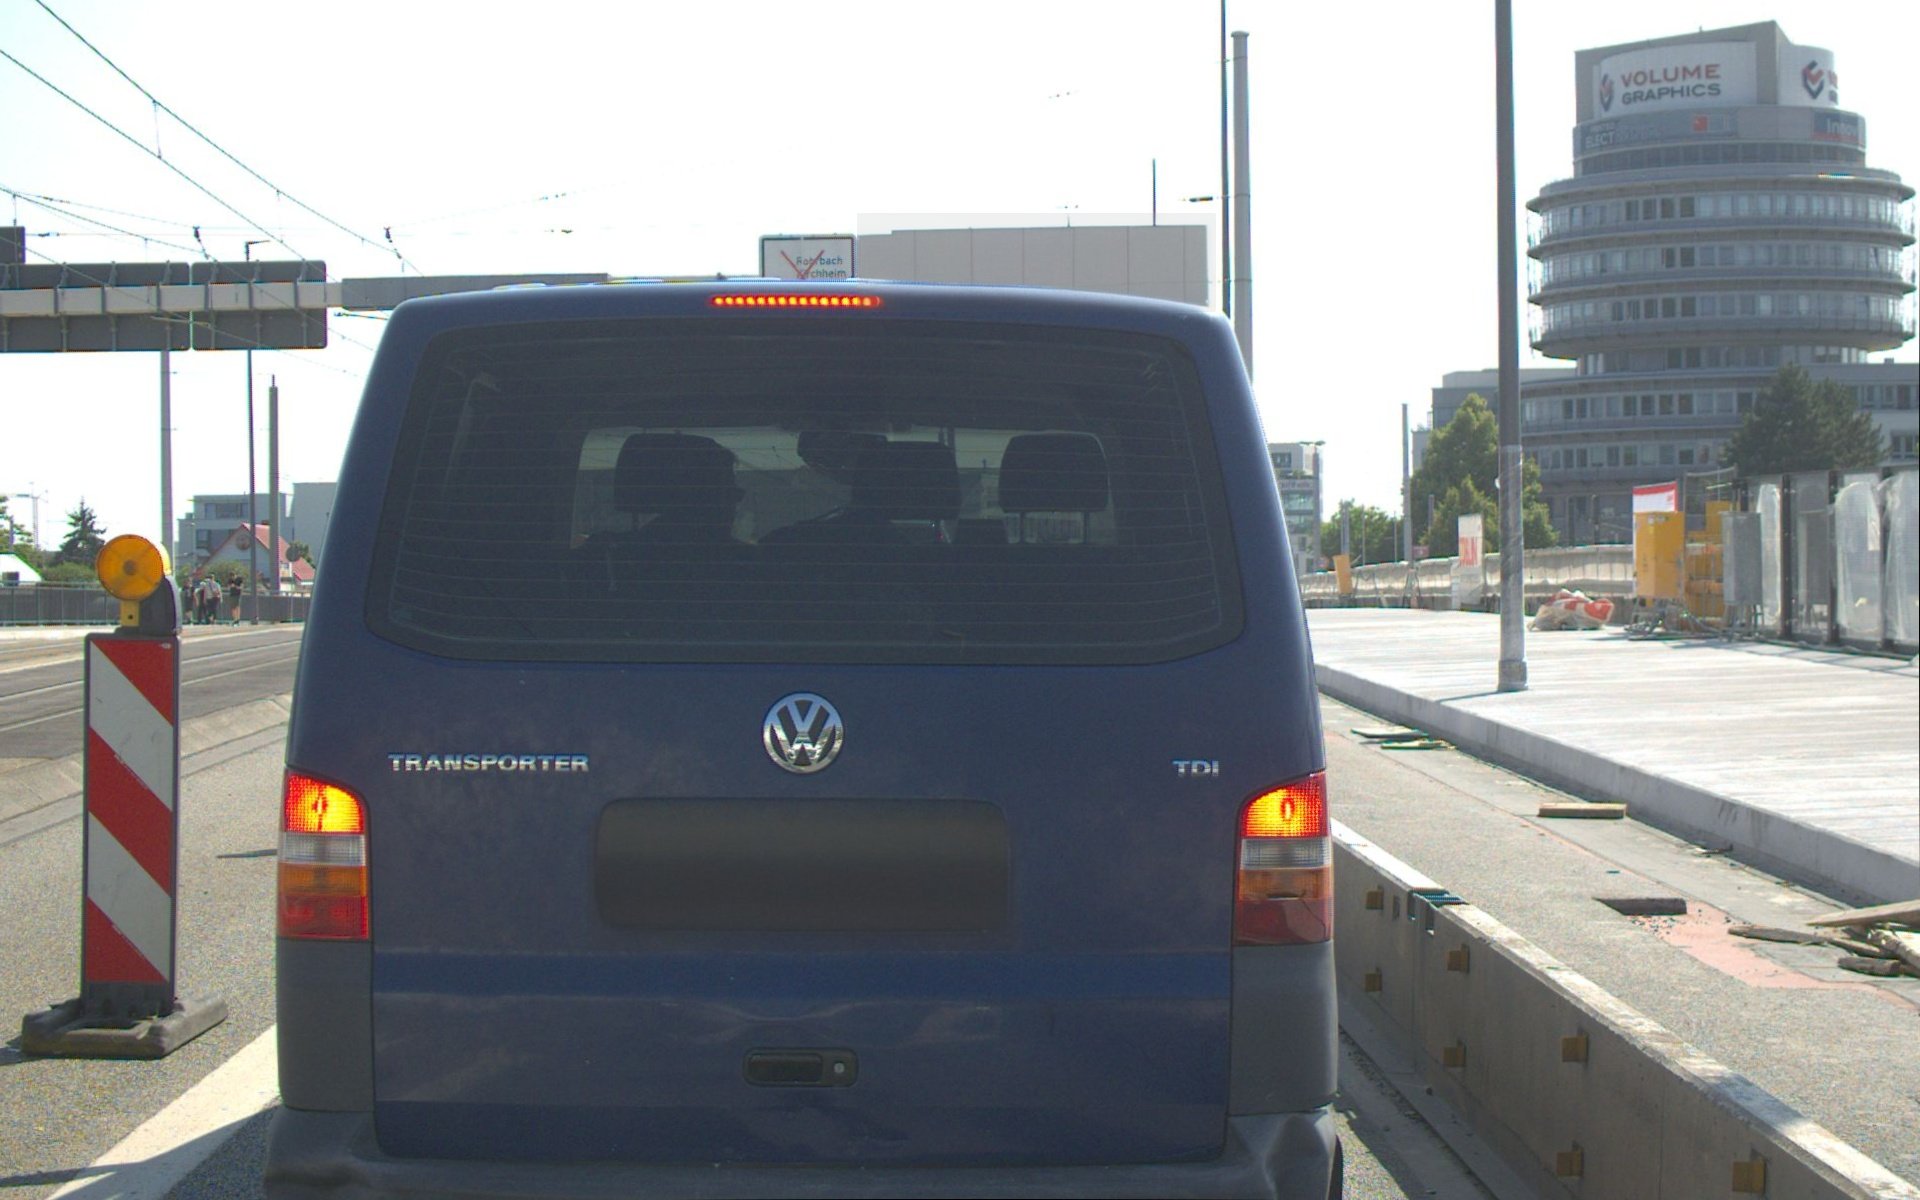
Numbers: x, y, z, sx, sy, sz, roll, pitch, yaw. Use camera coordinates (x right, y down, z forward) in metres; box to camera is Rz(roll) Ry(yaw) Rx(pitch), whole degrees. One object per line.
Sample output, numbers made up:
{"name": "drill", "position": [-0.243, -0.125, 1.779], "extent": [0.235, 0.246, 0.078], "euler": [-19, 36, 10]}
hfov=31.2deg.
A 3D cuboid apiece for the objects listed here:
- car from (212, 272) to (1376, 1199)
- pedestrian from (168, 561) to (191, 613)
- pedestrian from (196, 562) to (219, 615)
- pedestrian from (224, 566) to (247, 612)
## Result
{"name": "car", "position": [-0.329, 0.396, 7.421], "extent": [1.815, 1.899, 4.055], "euler": [0, 1, -2]}
{"name": "pedestrian", "position": [-26.411, -0.440, 116.312], "extent": [0.634, 1.746, 0.752], "euler": [0, 1, -1]}
{"name": "pedestrian", "position": [-25.509, -0.391, 116.545], "extent": [0.634, 1.768, 0.752], "euler": [0, 1, -1]}
{"name": "pedestrian", "position": [-25.111, -0.382, 119.134], "extent": [0.634, 1.593, 0.752], "euler": [0, 1, -1]}
